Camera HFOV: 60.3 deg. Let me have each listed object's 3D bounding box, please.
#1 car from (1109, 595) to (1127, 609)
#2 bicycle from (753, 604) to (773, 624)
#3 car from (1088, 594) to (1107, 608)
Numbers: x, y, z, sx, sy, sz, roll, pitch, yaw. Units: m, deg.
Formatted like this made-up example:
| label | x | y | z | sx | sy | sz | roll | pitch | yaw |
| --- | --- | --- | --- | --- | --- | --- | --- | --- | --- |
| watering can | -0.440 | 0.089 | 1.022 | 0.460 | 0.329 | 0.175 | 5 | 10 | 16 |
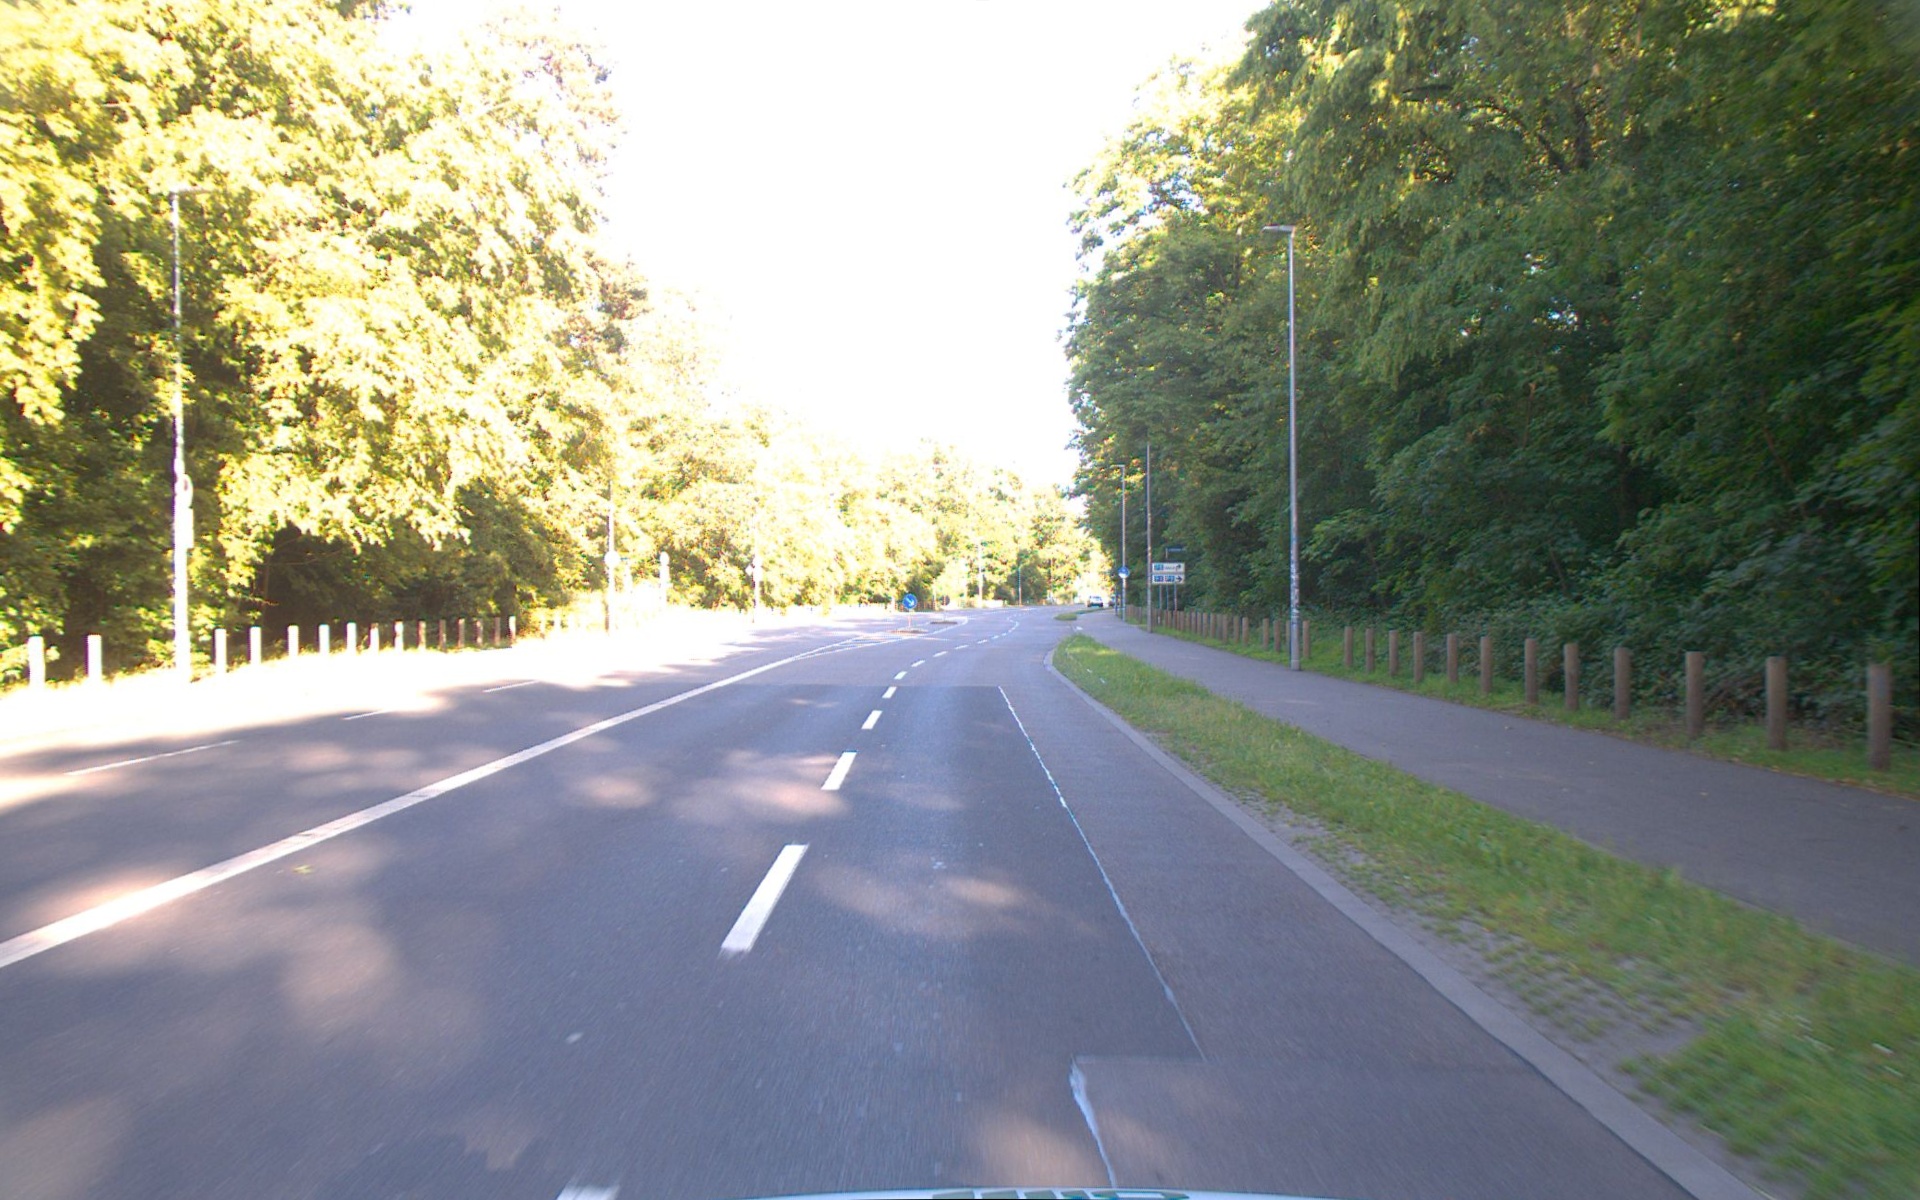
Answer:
| label | x | y | z | sx | sy | sz | roll | pitch | yaw |
| --- | --- | --- | --- | --- | --- | --- | --- | --- | --- |
| car | 21.901 | 0.271 | 229.548 | 1.840 | 1.796 | 4.003 | -1 | 0 | 16 |
| bicycle | -11.429 | 0.795 | 95.791 | 0.392 | 1.152 | 2.221 | 1 | 0 | 13 |
| car | 18.170 | 0.092 | 218.222 | 1.840 | 1.739 | 4.003 | -1 | 0 | 16 |
